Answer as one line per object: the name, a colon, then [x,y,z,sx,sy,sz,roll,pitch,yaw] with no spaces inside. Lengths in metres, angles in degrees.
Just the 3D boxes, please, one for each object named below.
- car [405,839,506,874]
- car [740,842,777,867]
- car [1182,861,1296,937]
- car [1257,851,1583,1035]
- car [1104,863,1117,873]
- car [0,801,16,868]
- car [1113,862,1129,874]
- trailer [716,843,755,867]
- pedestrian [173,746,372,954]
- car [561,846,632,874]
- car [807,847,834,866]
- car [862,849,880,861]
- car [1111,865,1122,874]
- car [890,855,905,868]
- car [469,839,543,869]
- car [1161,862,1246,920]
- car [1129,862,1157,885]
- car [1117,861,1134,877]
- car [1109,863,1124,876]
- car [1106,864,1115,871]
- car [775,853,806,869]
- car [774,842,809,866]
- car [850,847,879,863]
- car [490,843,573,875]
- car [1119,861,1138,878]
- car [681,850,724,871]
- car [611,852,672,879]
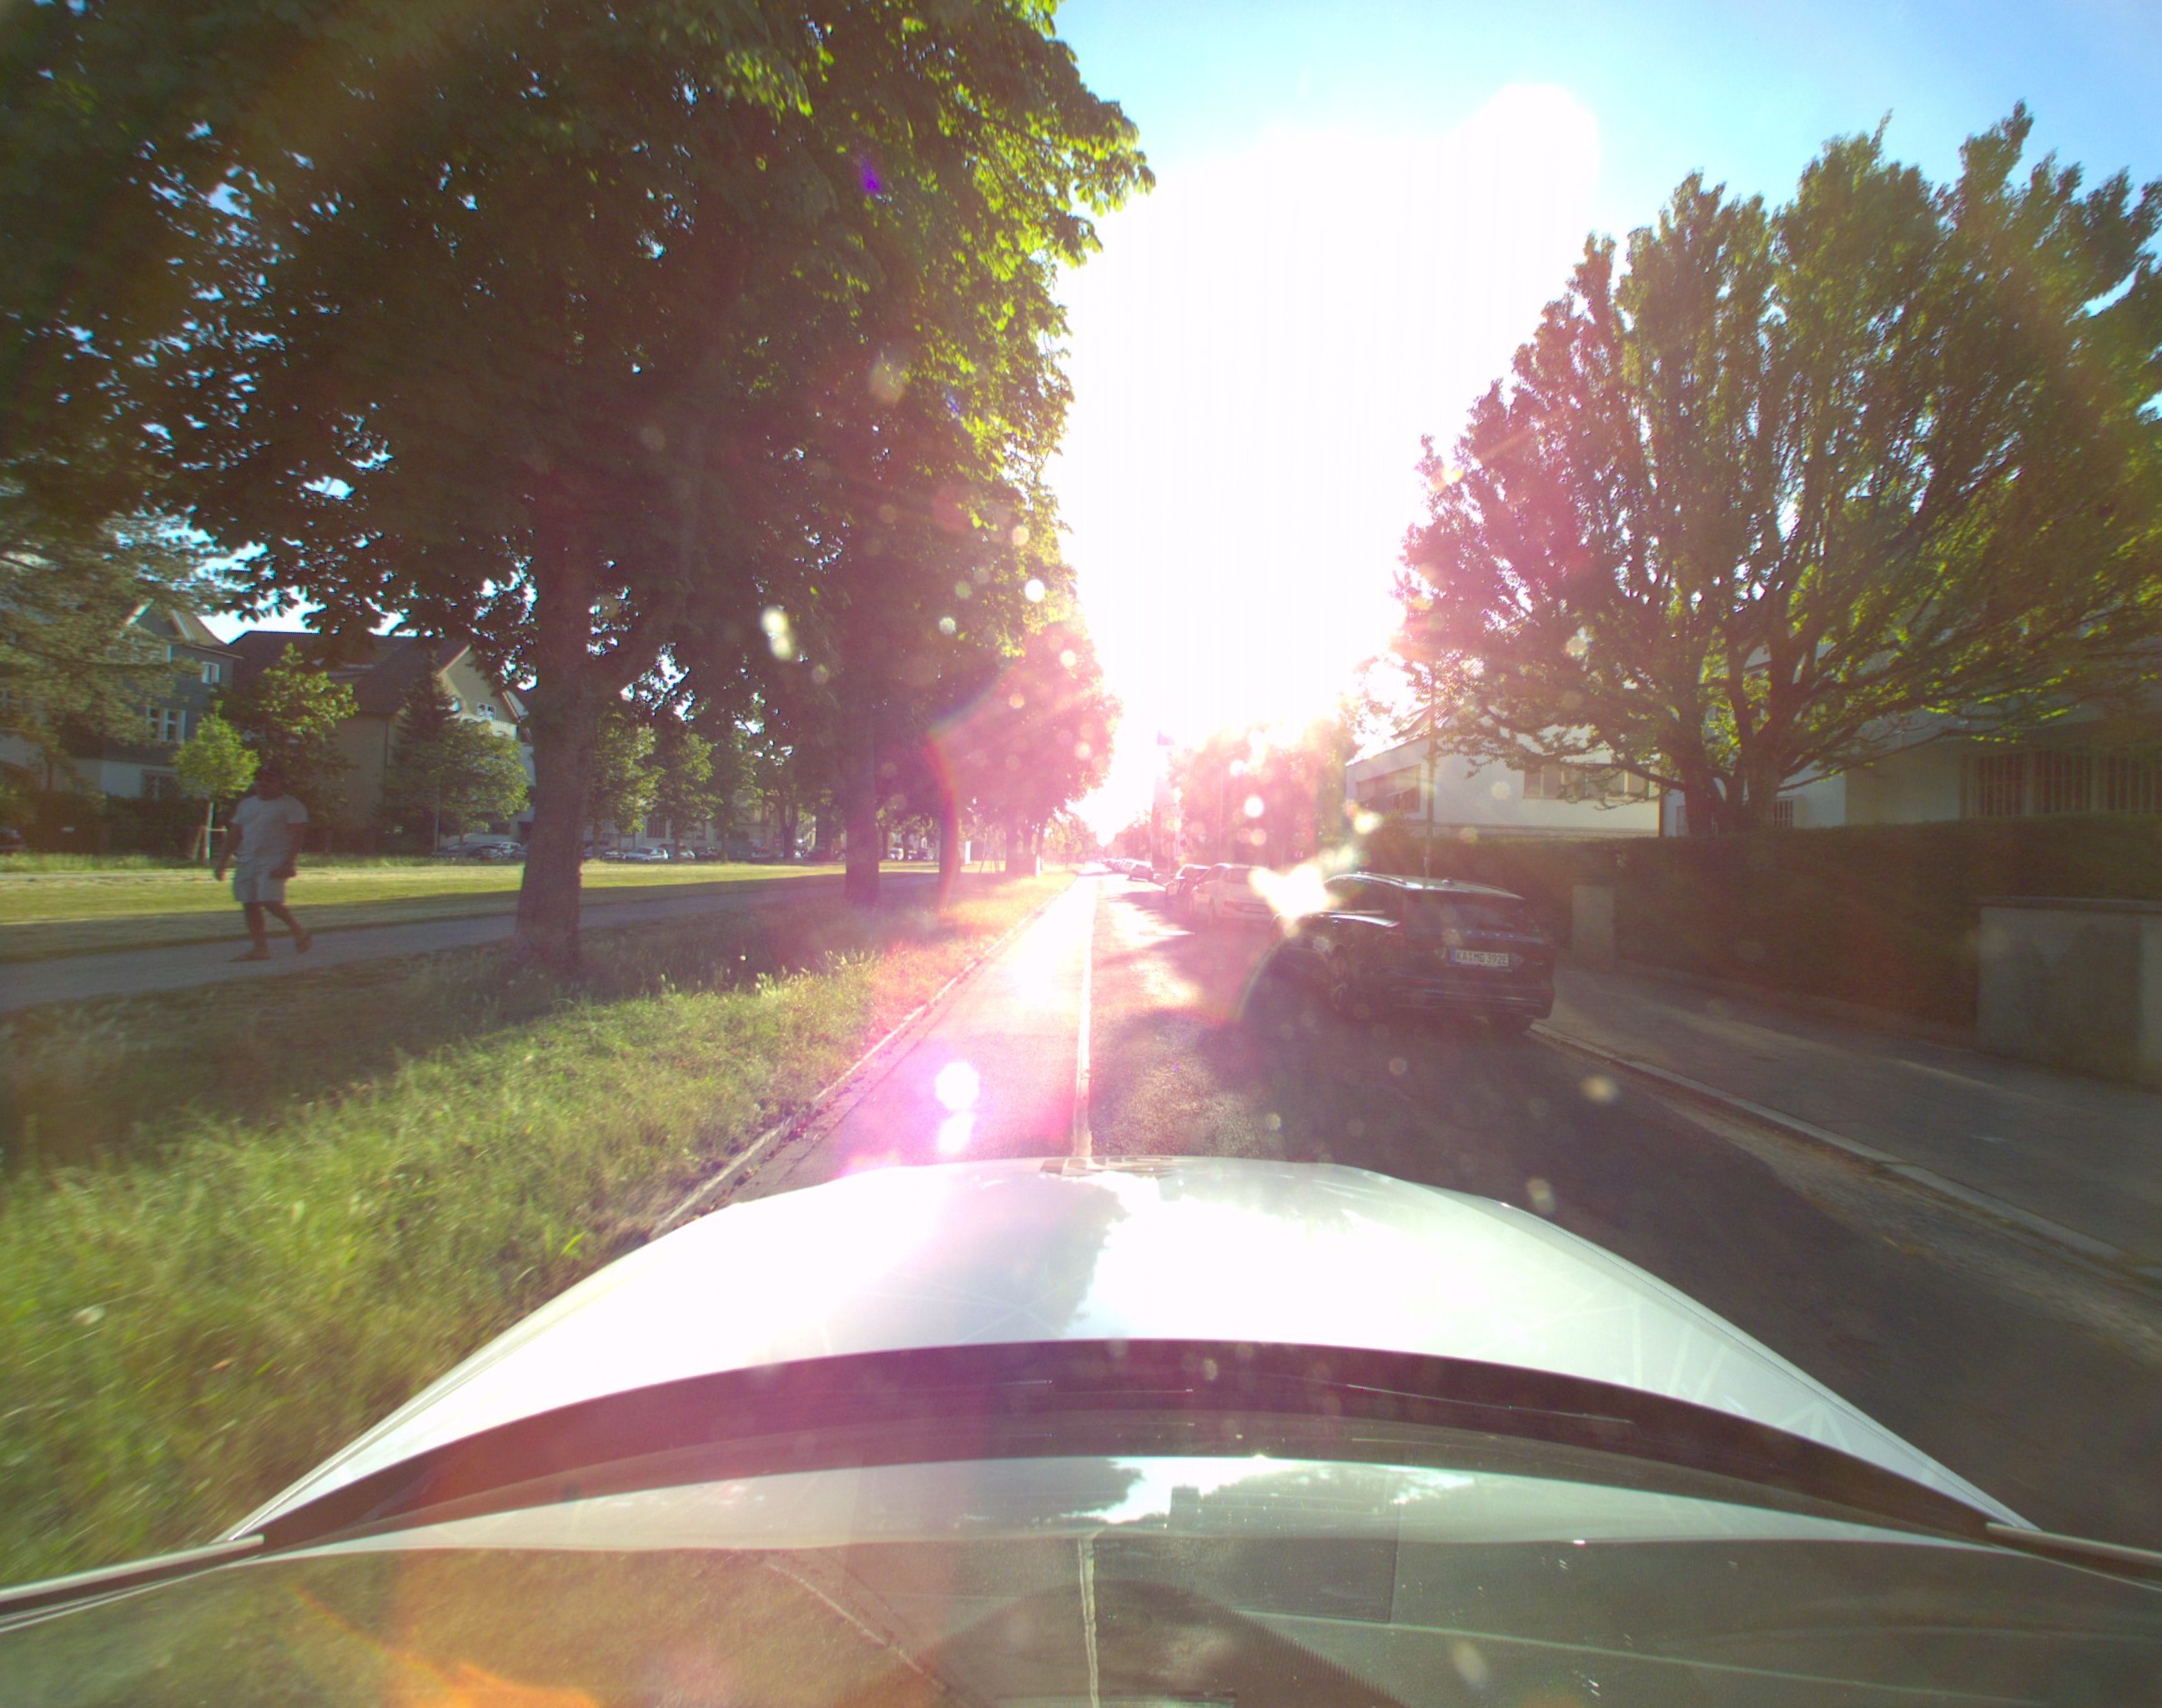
car: [-32.971,0.194,43.059,1.985,1.684,4.003,2,-1,3]
car: [-37.449,0.099,94.733,1.986,2.673,5.188,2,-1,2]
car: [3.668,1.002,19.584,1.687,1.483,3.924,6,-1,-3]
car: [3.399,0.813,9.285,1.787,1.492,4.674,2,-1,1]
car: [4.611,2.140,126.525,1.986,1.464,4.002,2,-1,2]
car: [-33.434,-0.663,22.707,1.986,2.014,4.001,3,-1,1]
car: [4.972,1.699,100.474,1.755,1.420,3.999,1,-1,0]
trailer: [-37.570,0.133,88.655,1.986,2.428,4.725,2,-1,2]
pedestrian: [-7.345,-0.040,7.453,0.720,1.758,0.995,2,-1,7]
car: [-32.359,0.427,54.548,1.986,1.721,4.257,2,-1,2]
car: [-31.728,0.364,99.272,1.678,2.176,4.316,2,-1,2]
car: [-36.725,0.120,142.524,1.986,2.013,4.486,-2,1,1]
car: [6.733,2.872,152.562,1.986,1.629,4.002,2,-1,2]
car: [-36.339,1.519,161.424,1.986,2.410,4.364,0,-2,1]
car: [-38.308,0.028,54.366,1.988,1.783,3.997,2,-1,-1]
car: [3.599,1.048,24.596,1.744,1.477,4.285,4,-1,-2]
car: [4.650,1.462,61.830,1.750,1.420,4.073,8,-1,2]
car: [4.946,1.682,91.067,1.679,1.651,4.100,2,-1,1]
car: [4.571,1.946,105.350,1.753,1.605,4.357,2,-1,0]
car: [6.724,3.086,186.988,1.973,1.683,4.002,2,-1,2]
car: [-31.683,0.782,88.869,1.678,1.560,4.316,2,-1,2]
car: [-37.423,-0.010,105.440,2.429,2.922,5.818,0,-2,1]
car: [-31.276,0.202,117.785,2.525,2.236,5.460,1,-1,1]
car: [-32.593,0.335,48.458,1.985,1.684,4.003,2,-1,3]
car: [4.953,1.620,85.170,1.753,1.605,4.357,2,-1,0]
car: [-37.967,0.684,81.732,1.987,1.953,4.749,2,-1,0]
car: [-32.349,0.897,60.089,1.986,1.860,4.257,2,-1,2]
